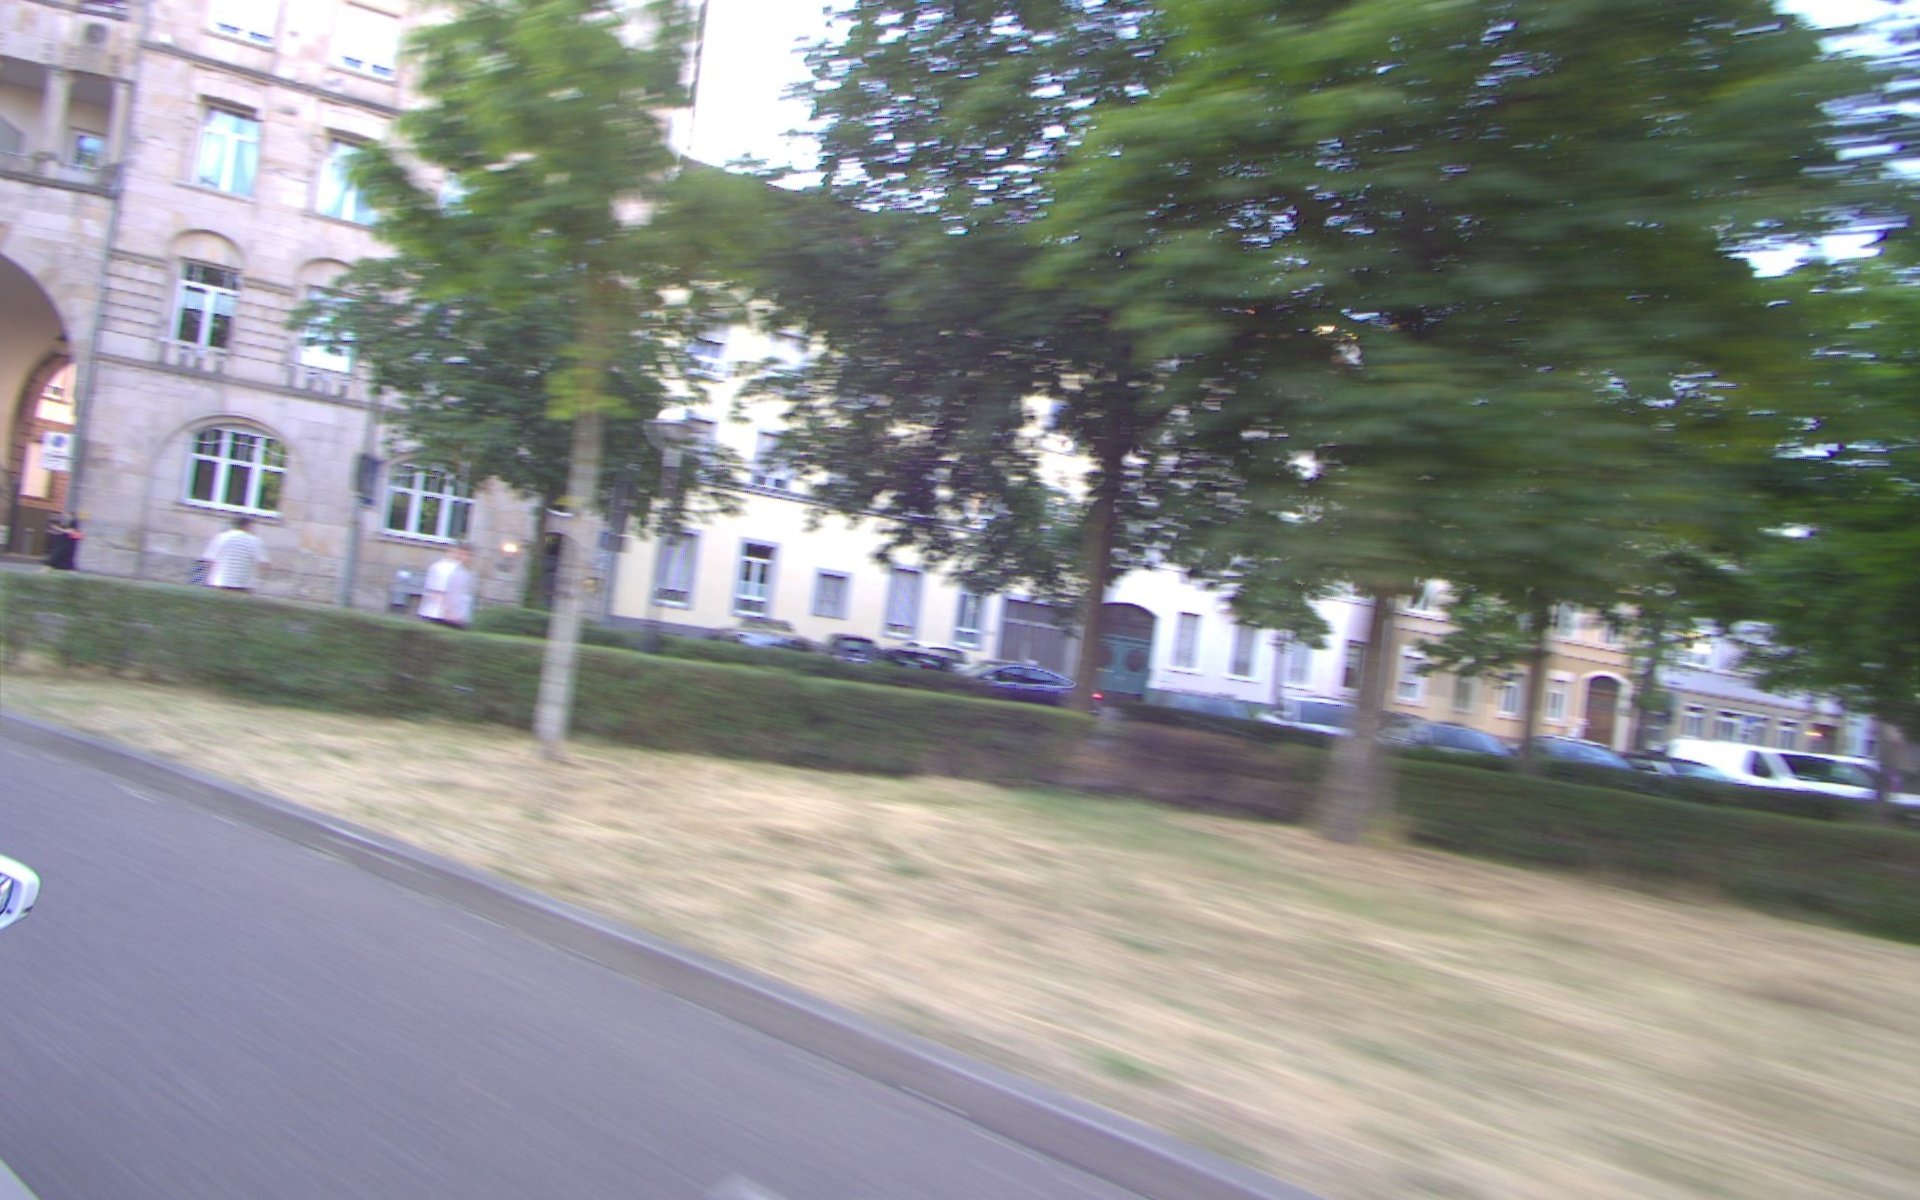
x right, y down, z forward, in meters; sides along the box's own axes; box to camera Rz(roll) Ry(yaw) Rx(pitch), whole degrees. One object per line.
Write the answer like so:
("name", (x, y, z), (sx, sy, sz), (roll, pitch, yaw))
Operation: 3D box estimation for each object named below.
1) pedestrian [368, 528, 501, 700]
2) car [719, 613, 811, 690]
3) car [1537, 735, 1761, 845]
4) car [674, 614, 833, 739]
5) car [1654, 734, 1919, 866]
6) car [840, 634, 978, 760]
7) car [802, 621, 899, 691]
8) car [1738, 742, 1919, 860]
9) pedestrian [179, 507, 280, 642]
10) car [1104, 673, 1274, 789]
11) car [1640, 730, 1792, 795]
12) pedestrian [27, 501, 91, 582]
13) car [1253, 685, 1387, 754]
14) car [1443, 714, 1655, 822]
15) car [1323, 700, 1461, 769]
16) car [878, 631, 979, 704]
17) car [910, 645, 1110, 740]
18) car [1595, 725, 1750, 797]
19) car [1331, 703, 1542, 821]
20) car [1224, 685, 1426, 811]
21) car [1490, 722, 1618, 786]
("pedestrian", (-5.752, 0.173, 11.034), (0.771, 1.735, 0.769), (8, -1, 24))
("car", (-5.295, 1.307, 26.886), (1.811, 1.575, 4.385), (9, -2, -17))
("car", (15.390, 4.199, 22.791), (1.965, 1.569, 4.069), (9, -2, -3))
("car", (-3.301, 1.201, 16.904), (1.833, 1.574, 4.069), (9, -2, -3))
("car", (18.477, 4.352, 22.770), (2.081, 1.924, 5.089), (9, -2, 5))
("car", (-0.860, 1.494, 16.813), (1.833, 1.574, 4.069), (9, -2, -3))
("car", (-3.164, 1.515, 28.334), (1.811, 1.502, 4.055), (9, -2, -17))
("car", (21.479, 4.773, 24.011), (1.930, 2.045, 5.089), (8, -2, 5))
("pedestrian", (-10.610, -0.356, 14.647), (0.809, 1.812, 0.590), (9, -1, -15))
("car", (4.246, 2.414, 19.406), (1.965, 1.569, 4.069), (9, -2, -3))
("car", (29.169, 6.233, 38.990), (1.706, 1.631, 4.382), (9, -2, -19))
("pedestrian", (-20.716, -1.335, 23.137), (0.711, 1.728, 0.576), (9, -1, -15))
("car", (11.944, 3.942, 33.671), (1.973, 1.569, 4.053), (9, -2, -19))
("car", (12.816, 3.602, 22.232), (1.965, 1.569, 4.069), (9, -2, -3))
("car", (14.646, 4.537, 34.373), (1.973, 1.569, 4.053), (9, -2, -19))
("car", (-0.997, 1.885, 29.051), (1.811, 1.587, 4.056), (9, -2, -16))
("car", (1.145, 2.127, 23.062), (4.086, 1.499, 1.811), (10, -2, -24))
("car", (22.640, 5.106, 31.979), (4.272, 1.548, 1.958), (10, -2, -22))
("car", (9.402, 3.152, 20.270), (1.965, 1.569, 4.069), (9, -2, -3))
("car", (6.724, 2.681, 19.059), (1.965, 1.636, 4.069), (9, -2, -3))
("car", (21.688, 5.594, 36.933), (1.965, 1.569, 4.069), (9, -2, -3))
